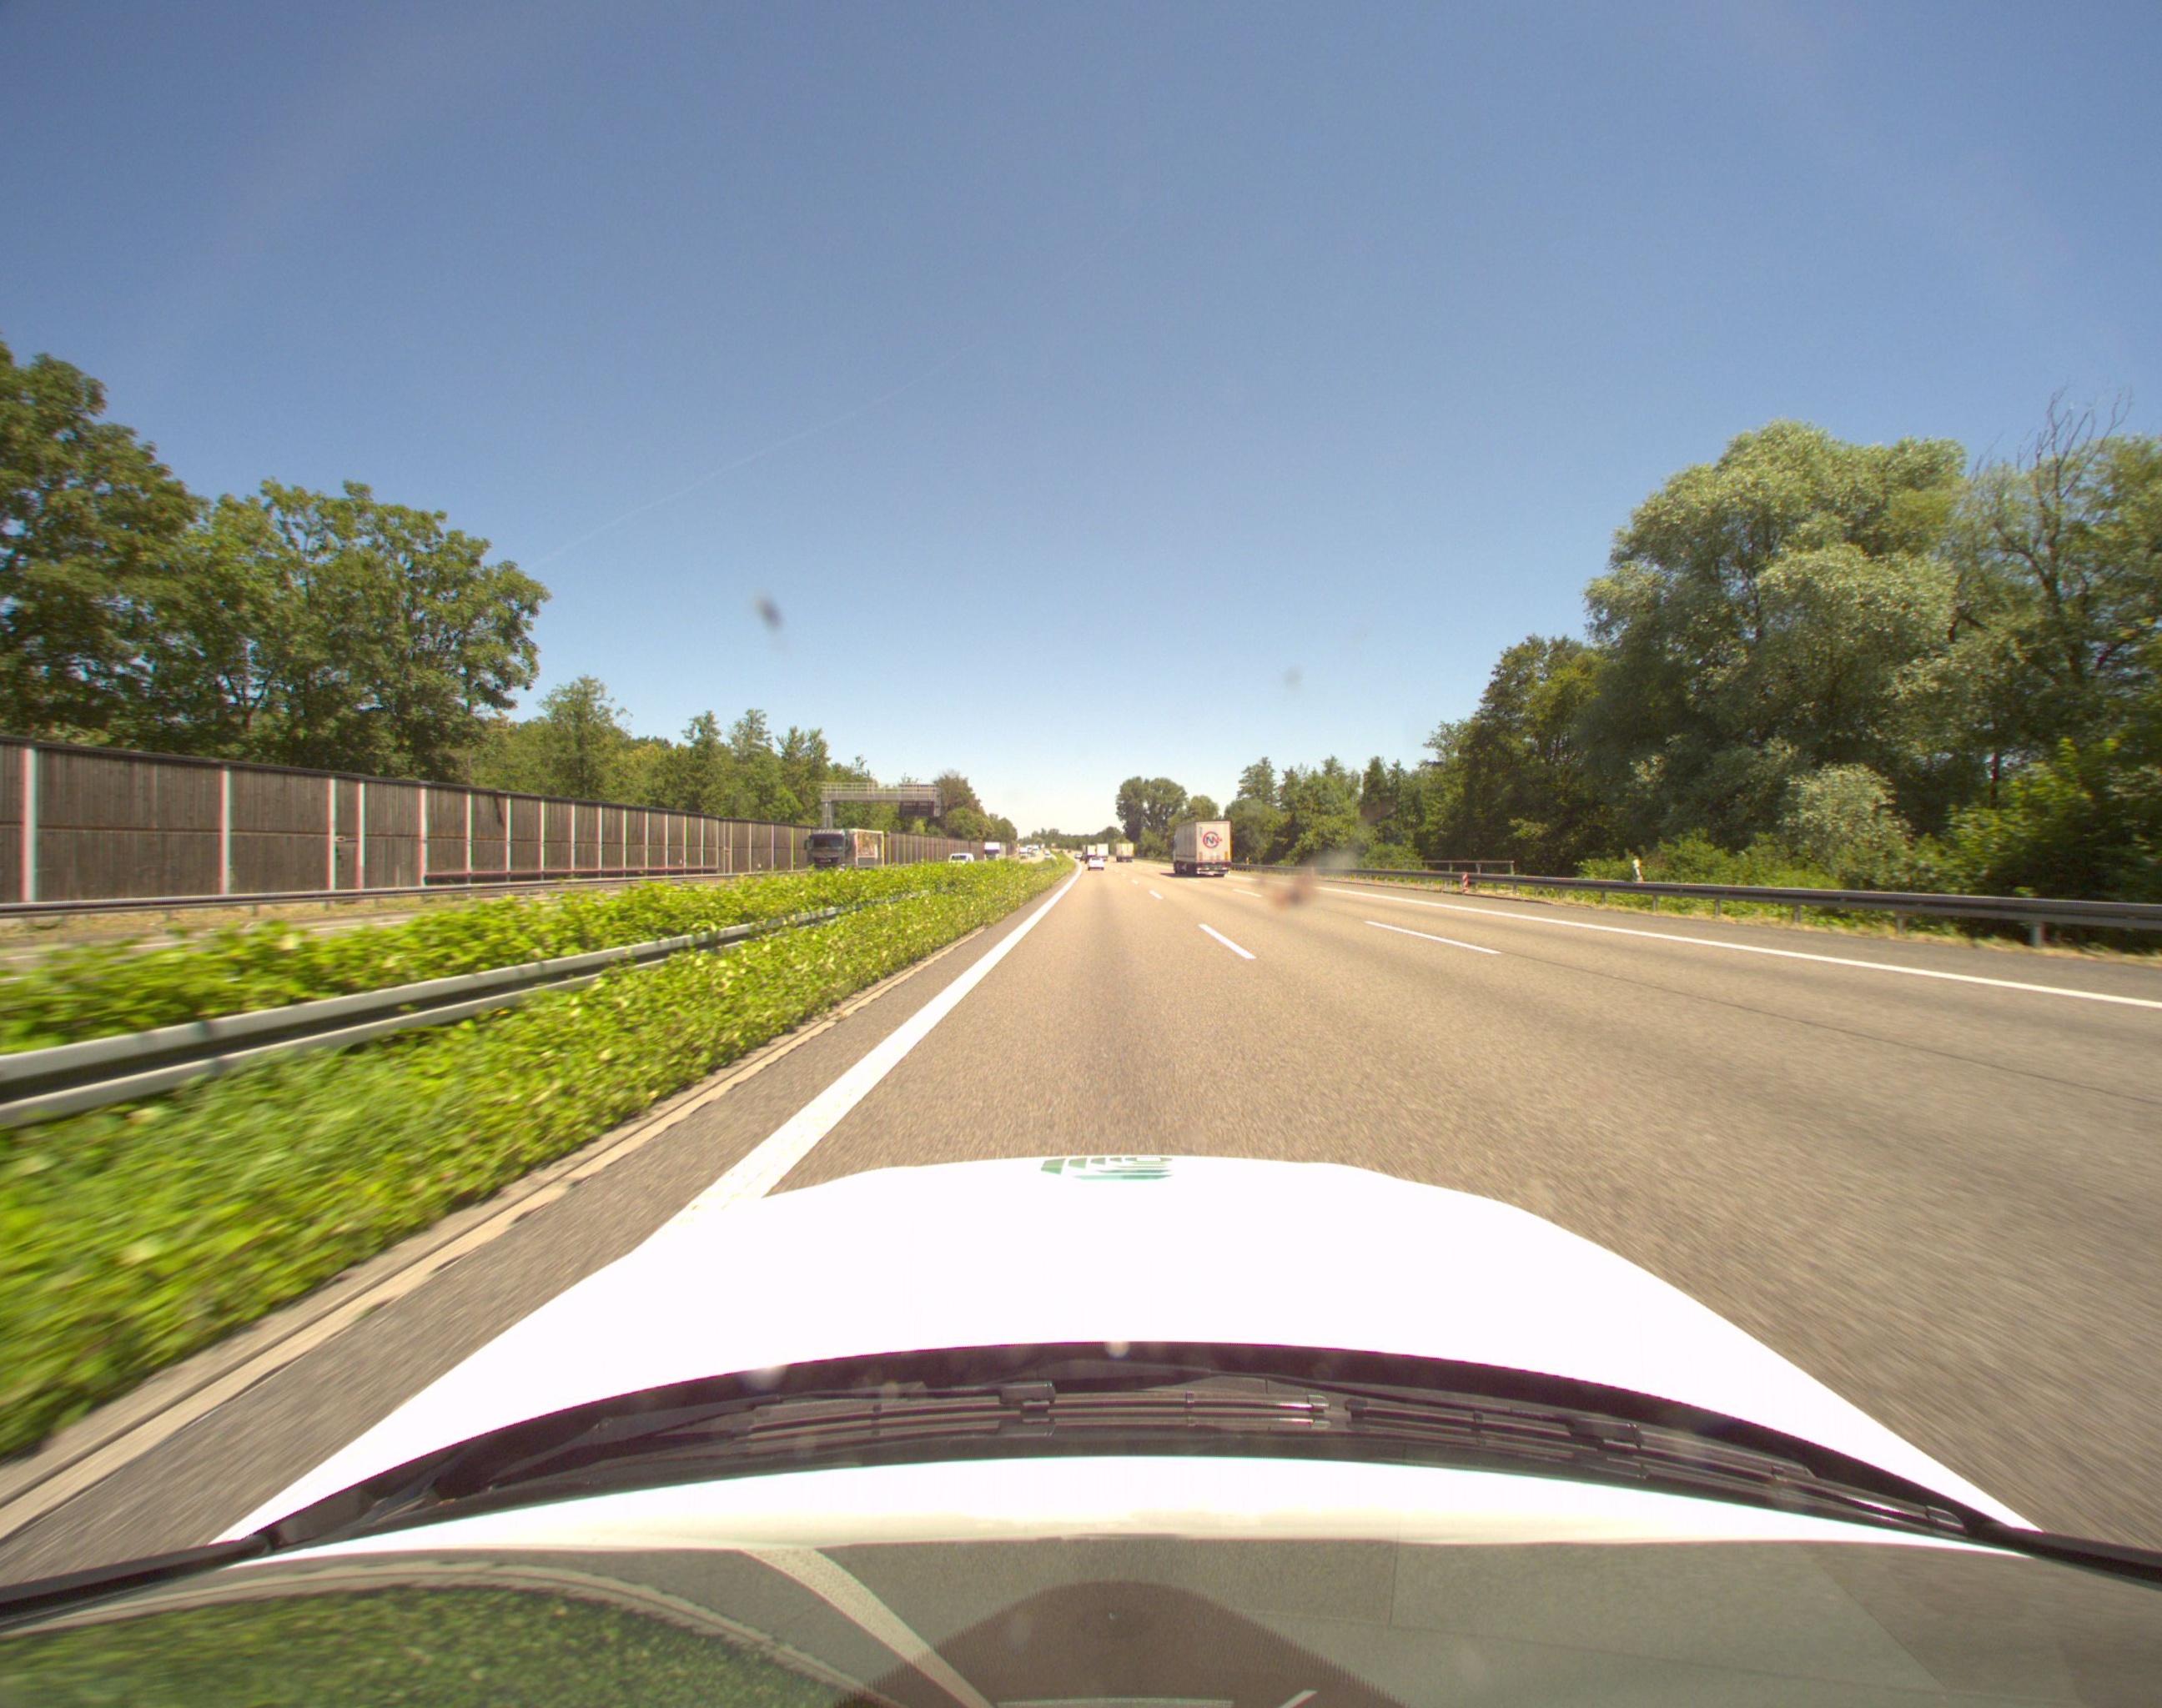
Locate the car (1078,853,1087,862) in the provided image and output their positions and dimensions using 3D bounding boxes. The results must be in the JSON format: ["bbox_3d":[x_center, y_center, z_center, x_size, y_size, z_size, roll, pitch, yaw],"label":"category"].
[{"bbox_3d":[0.252,0.858,191.525,1.988,2.013,3.997,-1,0,-2],"label":"car"}]

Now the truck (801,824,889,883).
[{"bbox_3d":[-15.672,-0.017,55.014,2.860,3.605,9.954,-1,0,1],"label":"truck"}]

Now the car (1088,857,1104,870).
[{"bbox_3d":[1.719,1.083,92.291,1.709,1.369,3.376,-1,0,2],"label":"car"}]

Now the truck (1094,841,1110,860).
[{"bbox_3d":[4.974,-0.801,194.327,3.350,4.311,10.823,-1,0,-1],"label":"truck"}]

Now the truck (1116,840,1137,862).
[{"bbox_3d":[9.422,-0.599,169.583,3.482,4.311,10.983,-1,0,-1],"label":"truck"}]

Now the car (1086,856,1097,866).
[{"bbox_3d":[1.991,1.265,154.112,1.987,1.772,3.999,-1,0,0],"label":"car"}]

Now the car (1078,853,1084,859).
[{"bbox_3d":[0.058,0.480,243.327,1.719,1.783,3.997,-1,0,-2],"label":"car"}]

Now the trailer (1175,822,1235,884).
[{"bbox_3d":[9.463,-0.058,64.033,2.615,4.261,14.059,-1,0,0],"label":"trailer"}]

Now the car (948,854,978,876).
[{"bbox_3d":[-11.213,1.016,78.032,1.986,2.013,5.103,-1,0,1],"label":"car"}]

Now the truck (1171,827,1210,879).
[{"bbox_3d":[9.468,-0.080,71.029,2.598,4.287,5.434,-1,0,0],"label":"truck"}]

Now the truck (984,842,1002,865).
[{"bbox_3d":[-15.440,-0.072,143.377,2.512,4.066,6.369,-1,0,0],"label":"truck"}]
